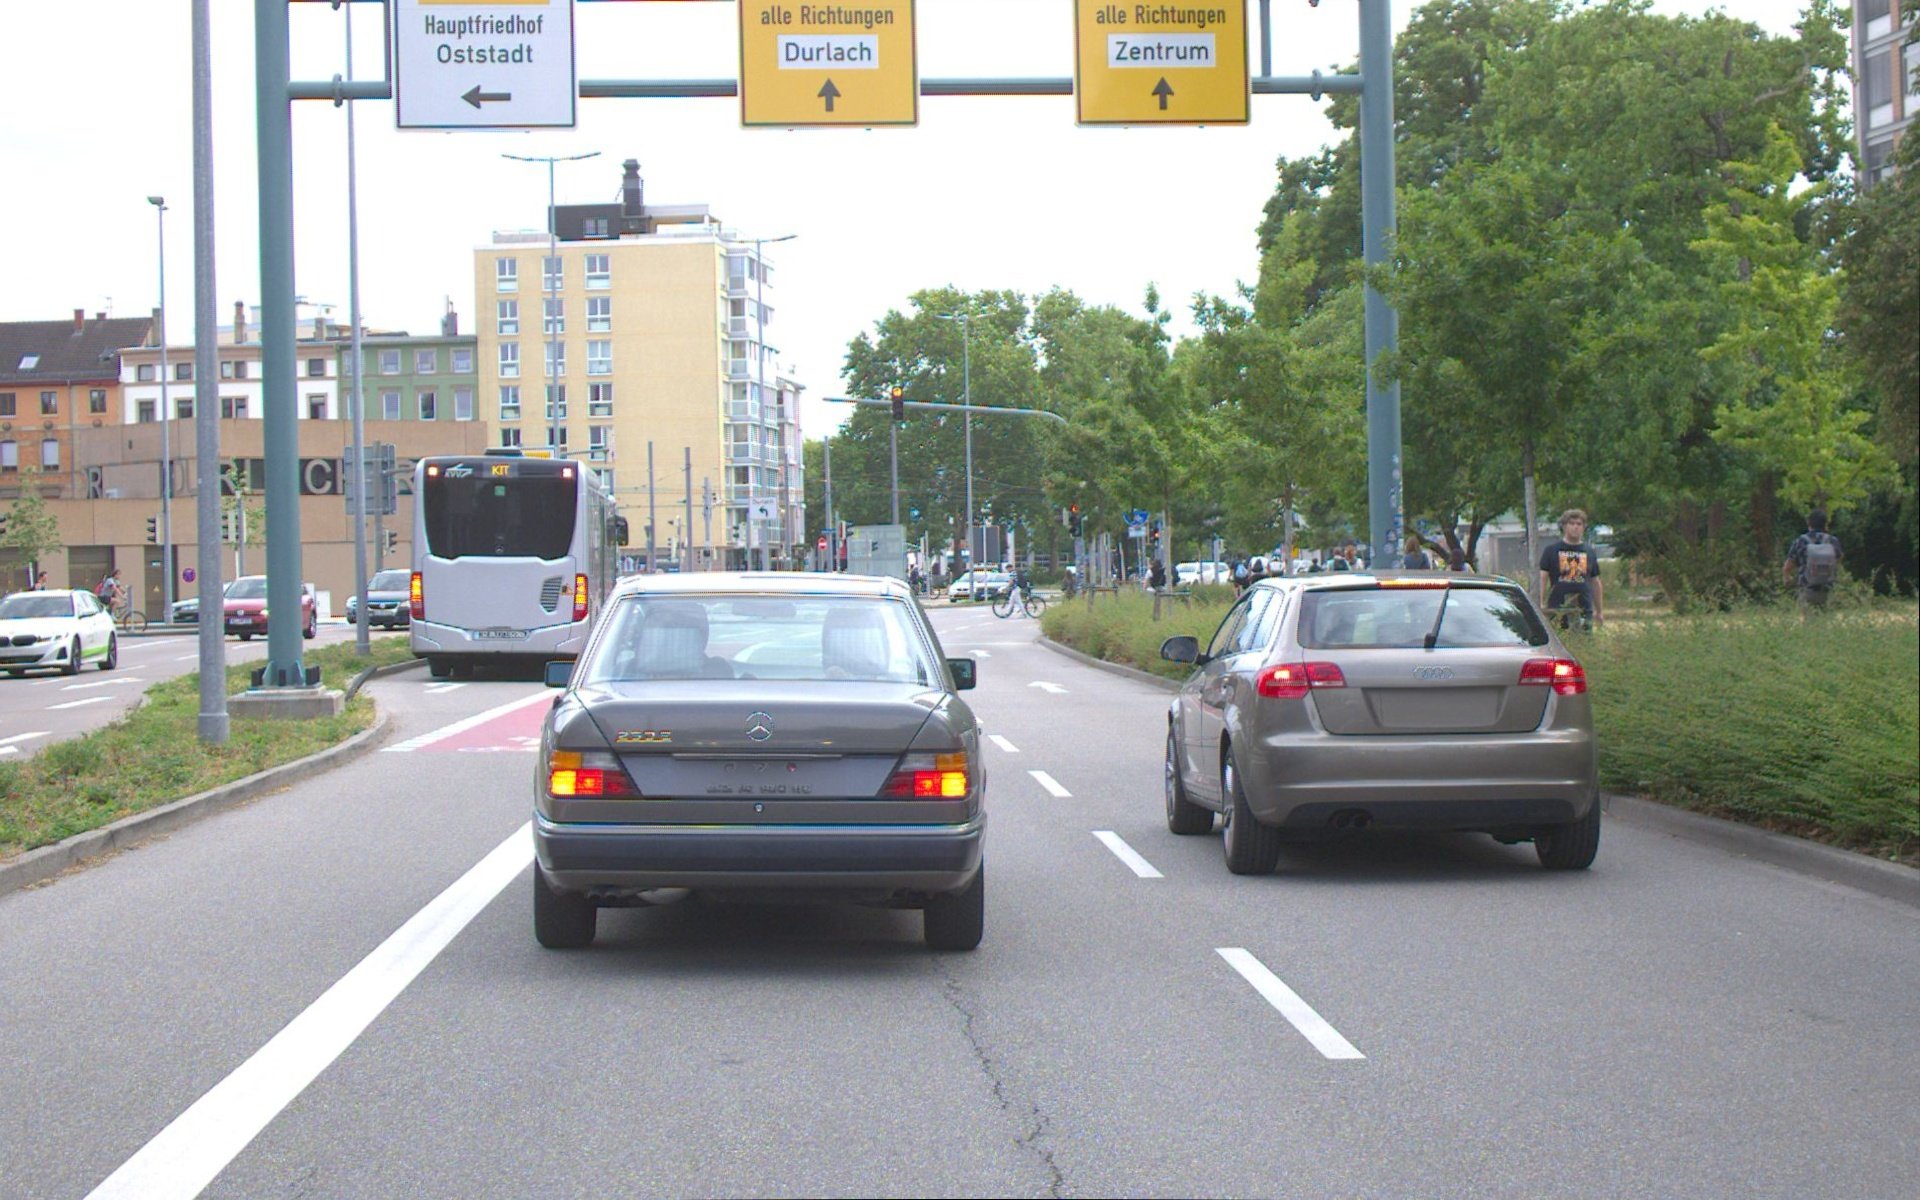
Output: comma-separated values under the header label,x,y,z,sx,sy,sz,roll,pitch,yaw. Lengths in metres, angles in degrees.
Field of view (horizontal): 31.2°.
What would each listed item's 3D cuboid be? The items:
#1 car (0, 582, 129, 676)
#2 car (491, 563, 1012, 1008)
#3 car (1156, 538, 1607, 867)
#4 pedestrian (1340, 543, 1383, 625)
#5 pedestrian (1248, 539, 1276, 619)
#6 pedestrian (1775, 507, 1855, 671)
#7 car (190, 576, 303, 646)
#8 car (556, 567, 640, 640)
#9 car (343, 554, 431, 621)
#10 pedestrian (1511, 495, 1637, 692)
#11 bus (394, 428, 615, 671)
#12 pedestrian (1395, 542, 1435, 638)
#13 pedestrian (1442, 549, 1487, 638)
label,x,y,z,sx,sy,sz,roll,pitch,yaw
car,-15.536,0.464,58.602,1.801,1.484,4.416,-1,1,-2
car,-0.880,0.612,13.903,1.761,1.484,4.172,-1,1,-5
car,2.008,0.437,17.367,1.724,1.452,3.736,-1,1,-1
pedestrian,8.465,-0.338,72.443,0.802,1.707,0.764,-1,1,11
pedestrian,7.655,-0.537,87.125,0.614,2.007,0.597,-1,1,-4
pedestrian,8.870,-0.119,35.701,0.587,1.677,0.748,-1,1,-2
car,-16.256,0.234,78.549,1.801,1.484,4.289,-1,1,-2
car,-7.501,0.046,71.530,1.655,1.391,3.861,-1,1,-5
car,-15.500,-0.359,93.158,1.801,1.660,4.301,-3,1,-3
pedestrian,5.790,-0.064,32.395,0.935,1.824,0.886,-1,1,25
bus,-6.830,-0.768,52.578,2.831,3.379,8.184,-1,1,-4
pedestrian,8.217,-0.179,62.071,0.647,1.707,0.561,-1,1,13
pedestrian,8.373,-0.107,57.080,0.657,1.465,0.561,-1,1,15
